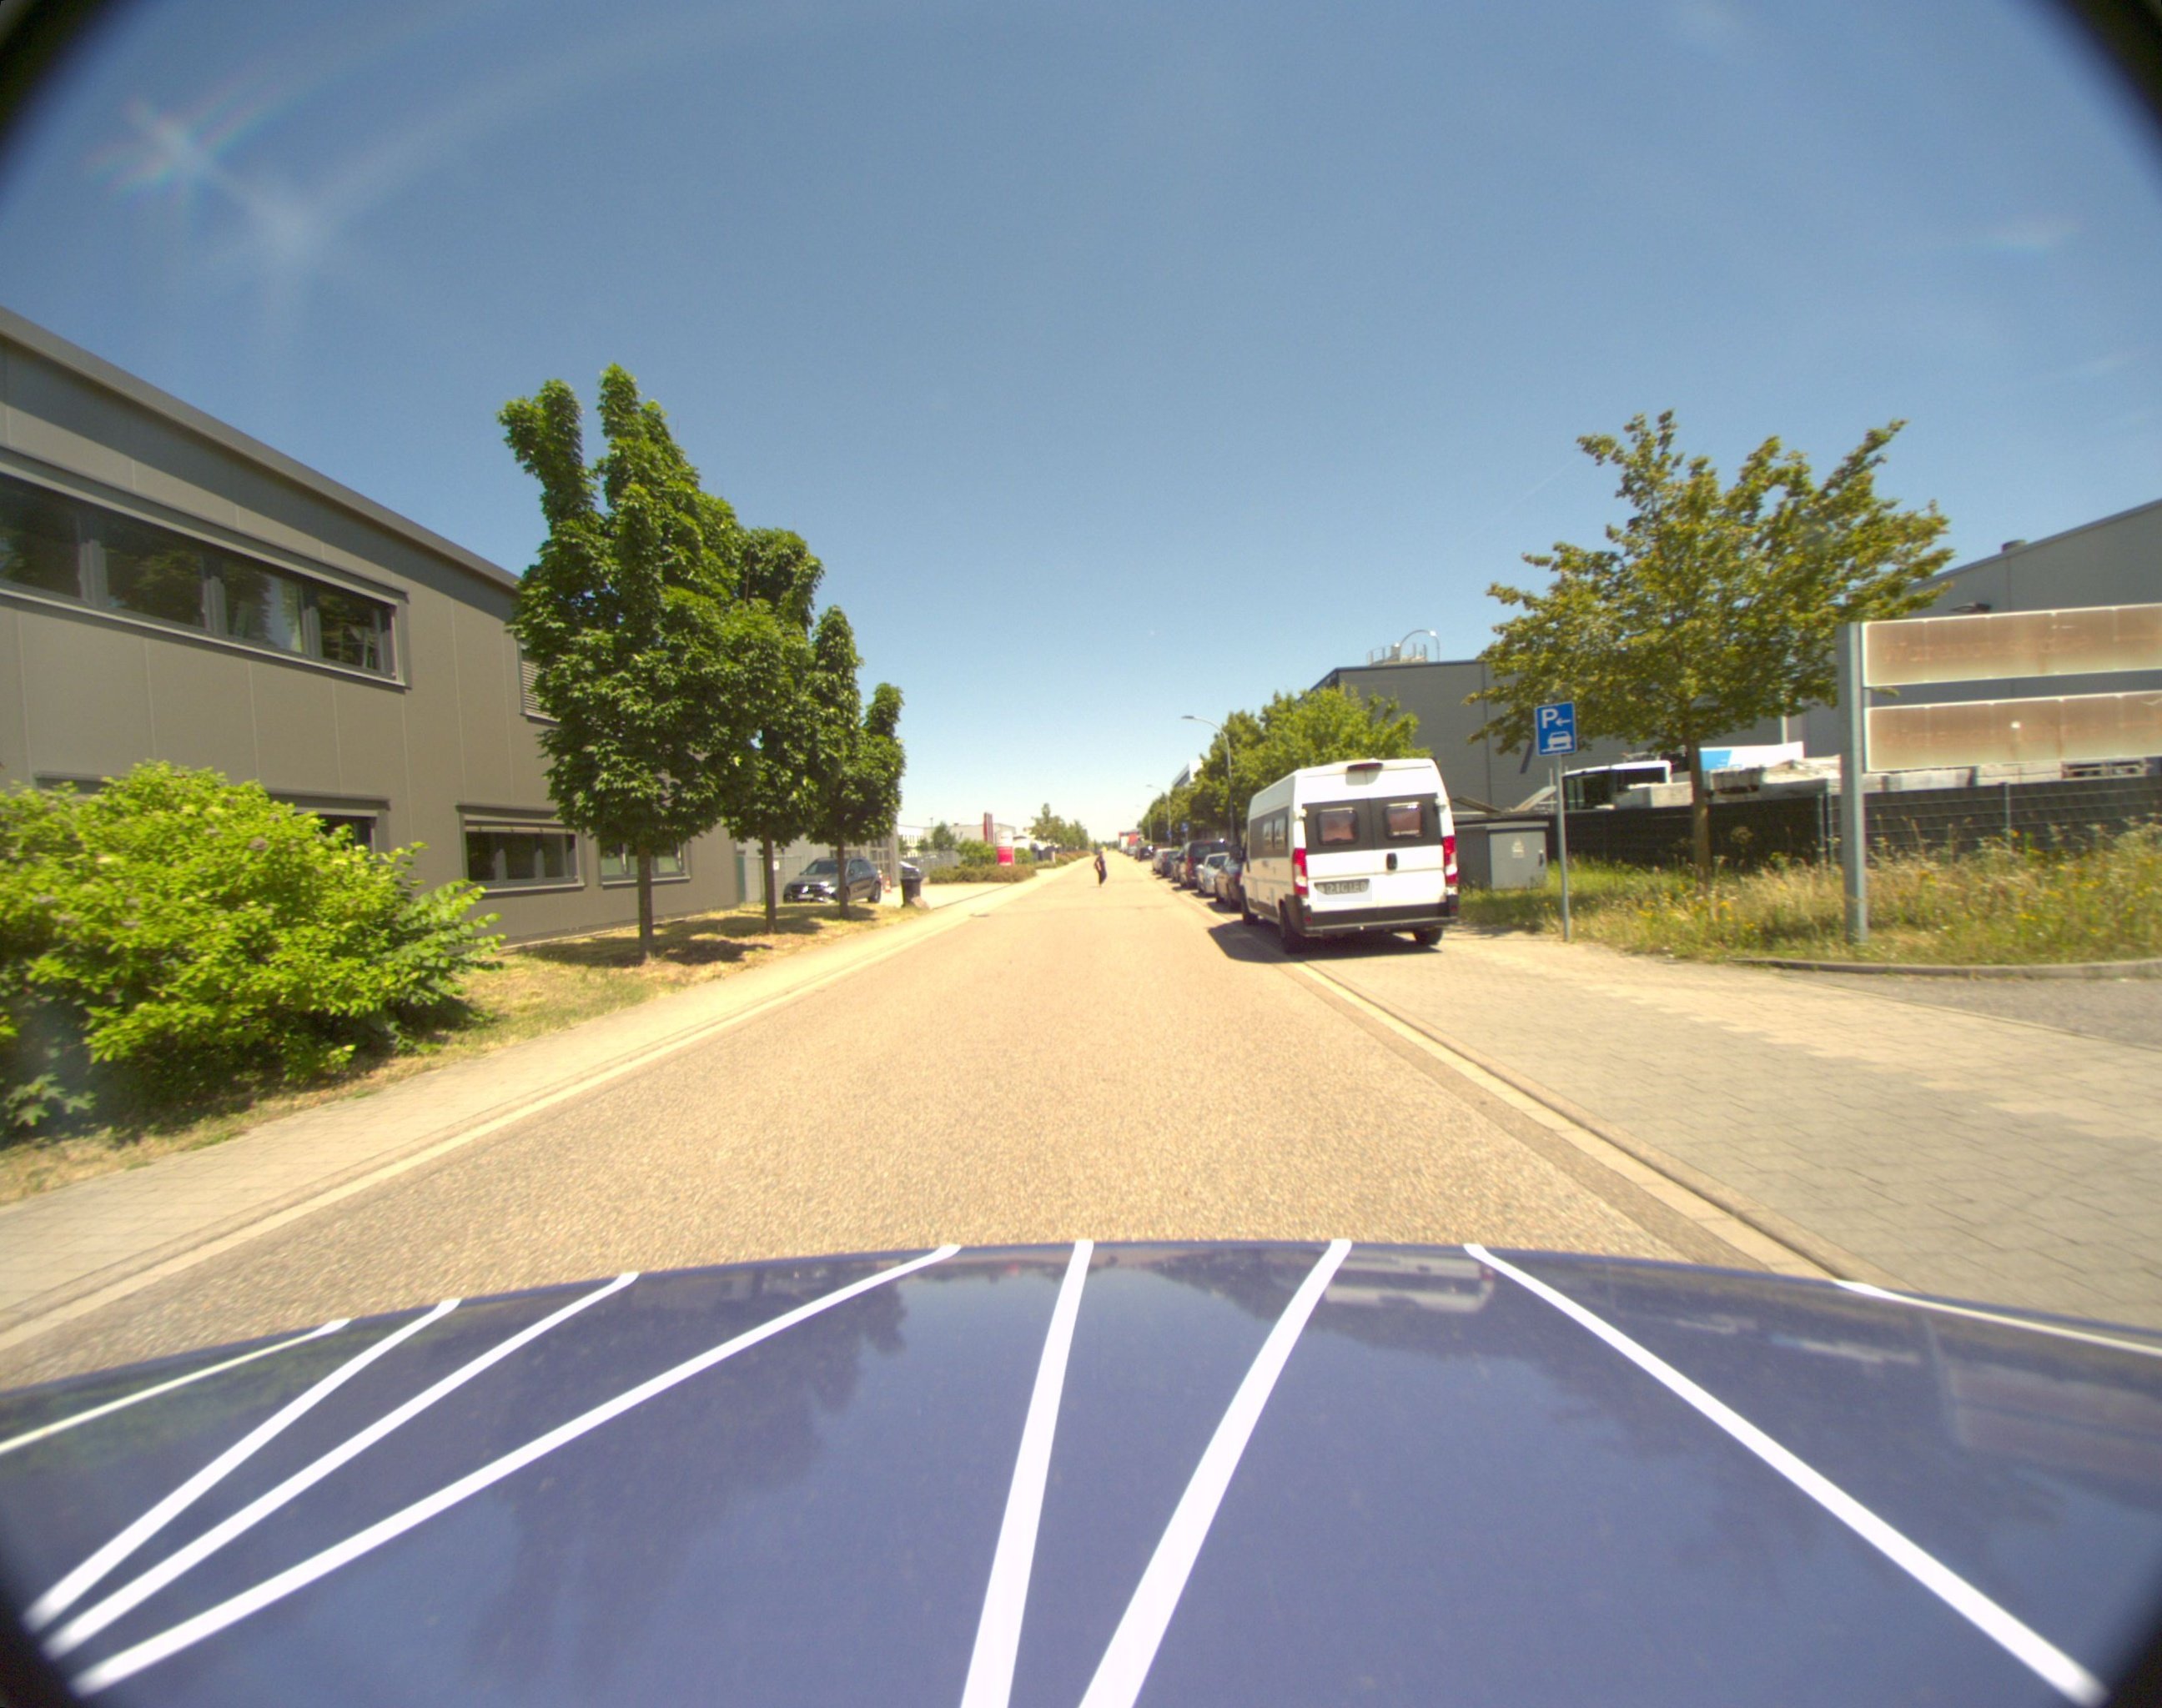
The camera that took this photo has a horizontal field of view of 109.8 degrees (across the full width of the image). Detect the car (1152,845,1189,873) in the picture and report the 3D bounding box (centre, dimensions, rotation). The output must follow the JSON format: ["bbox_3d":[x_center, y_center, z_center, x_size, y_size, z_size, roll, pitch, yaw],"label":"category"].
[{"bbox_3d":[5.537,0.280,47.401,1.798,1.477,4.190,-5,0,2],"label":"car"}]

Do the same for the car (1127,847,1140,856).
[{"bbox_3d":[8.664,-0.485,125.880,1.798,1.319,3.831,-5,0,2],"label":"car"}]

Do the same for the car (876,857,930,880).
[{"bbox_3d":[-12.631,1.039,54.066,3.359,1.361,1.792,-4,1,-2],"label":"car"}]

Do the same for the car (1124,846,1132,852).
[{"bbox_3d":[11.701,-1.333,188.009,1.798,1.319,3.831,-5,0,2],"label":"car"}]

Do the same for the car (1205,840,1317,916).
[{"bbox_3d":[4.329,0.500,18.966,1.835,1.532,4.625,-5,0,3],"label":"car"}]

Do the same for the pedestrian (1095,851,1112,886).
[{"bbox_3d":[1.018,0.644,34.320,0.680,1.559,0.535,-1,1,3],"label":"pedestrian"}]

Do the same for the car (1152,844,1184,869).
[{"bbox_3d":[6.054,0.153,53.233,1.798,1.477,3.969,-5,0,2],"label":"car"}]

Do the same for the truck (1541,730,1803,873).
[{"bbox_3d":[18.503,-1.591,24.028,6.054,3.948,3.154,-3,1,-9],"label":"truck"}]

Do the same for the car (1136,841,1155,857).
[{"bbox_3d":[7.137,-0.531,84.124,1.798,1.638,3.831,-5,0,2],"label":"car"}]

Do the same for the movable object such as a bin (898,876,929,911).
[{"bbox_3d":[-5.359,1.255,24.392,0.616,1.040,0.810,-2,1,15],"label":"movable object such as a bin"}]

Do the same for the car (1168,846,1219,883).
[{"bbox_3d":[5.177,0.436,35.533,1.798,1.456,4.452,-5,0,3],"label":"car"}]

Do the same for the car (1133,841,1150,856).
[{"bbox_3d":[7.520,-0.637,94.937,1.798,1.701,3.831,-5,0,2],"label":"car"}]

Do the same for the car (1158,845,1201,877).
[{"bbox_3d":[5.349,0.343,41.598,1.798,1.477,4.452,-5,0,2],"label":"car"}]

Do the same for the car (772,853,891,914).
[{"bbox_3d":[-8.583,0.951,26.696,2.156,1.800,4.915,-2,1,5],"label":"car"}]

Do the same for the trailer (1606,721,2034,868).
[{"bbox_3d":[24.140,-1.929,24.953,12.537,3.948,3.154,-3,1,-9],"label":"trailer"}]

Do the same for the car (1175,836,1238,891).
[{"bbox_3d":[4.702,0.314,29.101,1.835,1.800,4.083,-5,0,3],"label":"car"}]

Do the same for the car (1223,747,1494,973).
[{"bbox_3d":[3.962,0.050,12.365,2.328,2.583,6.086,-5,0,3],"label":"car"}]

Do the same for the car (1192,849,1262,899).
[{"bbox_3d":[4.533,0.568,24.119,1.647,1.303,4.001,-5,0,4],"label":"car"}]
